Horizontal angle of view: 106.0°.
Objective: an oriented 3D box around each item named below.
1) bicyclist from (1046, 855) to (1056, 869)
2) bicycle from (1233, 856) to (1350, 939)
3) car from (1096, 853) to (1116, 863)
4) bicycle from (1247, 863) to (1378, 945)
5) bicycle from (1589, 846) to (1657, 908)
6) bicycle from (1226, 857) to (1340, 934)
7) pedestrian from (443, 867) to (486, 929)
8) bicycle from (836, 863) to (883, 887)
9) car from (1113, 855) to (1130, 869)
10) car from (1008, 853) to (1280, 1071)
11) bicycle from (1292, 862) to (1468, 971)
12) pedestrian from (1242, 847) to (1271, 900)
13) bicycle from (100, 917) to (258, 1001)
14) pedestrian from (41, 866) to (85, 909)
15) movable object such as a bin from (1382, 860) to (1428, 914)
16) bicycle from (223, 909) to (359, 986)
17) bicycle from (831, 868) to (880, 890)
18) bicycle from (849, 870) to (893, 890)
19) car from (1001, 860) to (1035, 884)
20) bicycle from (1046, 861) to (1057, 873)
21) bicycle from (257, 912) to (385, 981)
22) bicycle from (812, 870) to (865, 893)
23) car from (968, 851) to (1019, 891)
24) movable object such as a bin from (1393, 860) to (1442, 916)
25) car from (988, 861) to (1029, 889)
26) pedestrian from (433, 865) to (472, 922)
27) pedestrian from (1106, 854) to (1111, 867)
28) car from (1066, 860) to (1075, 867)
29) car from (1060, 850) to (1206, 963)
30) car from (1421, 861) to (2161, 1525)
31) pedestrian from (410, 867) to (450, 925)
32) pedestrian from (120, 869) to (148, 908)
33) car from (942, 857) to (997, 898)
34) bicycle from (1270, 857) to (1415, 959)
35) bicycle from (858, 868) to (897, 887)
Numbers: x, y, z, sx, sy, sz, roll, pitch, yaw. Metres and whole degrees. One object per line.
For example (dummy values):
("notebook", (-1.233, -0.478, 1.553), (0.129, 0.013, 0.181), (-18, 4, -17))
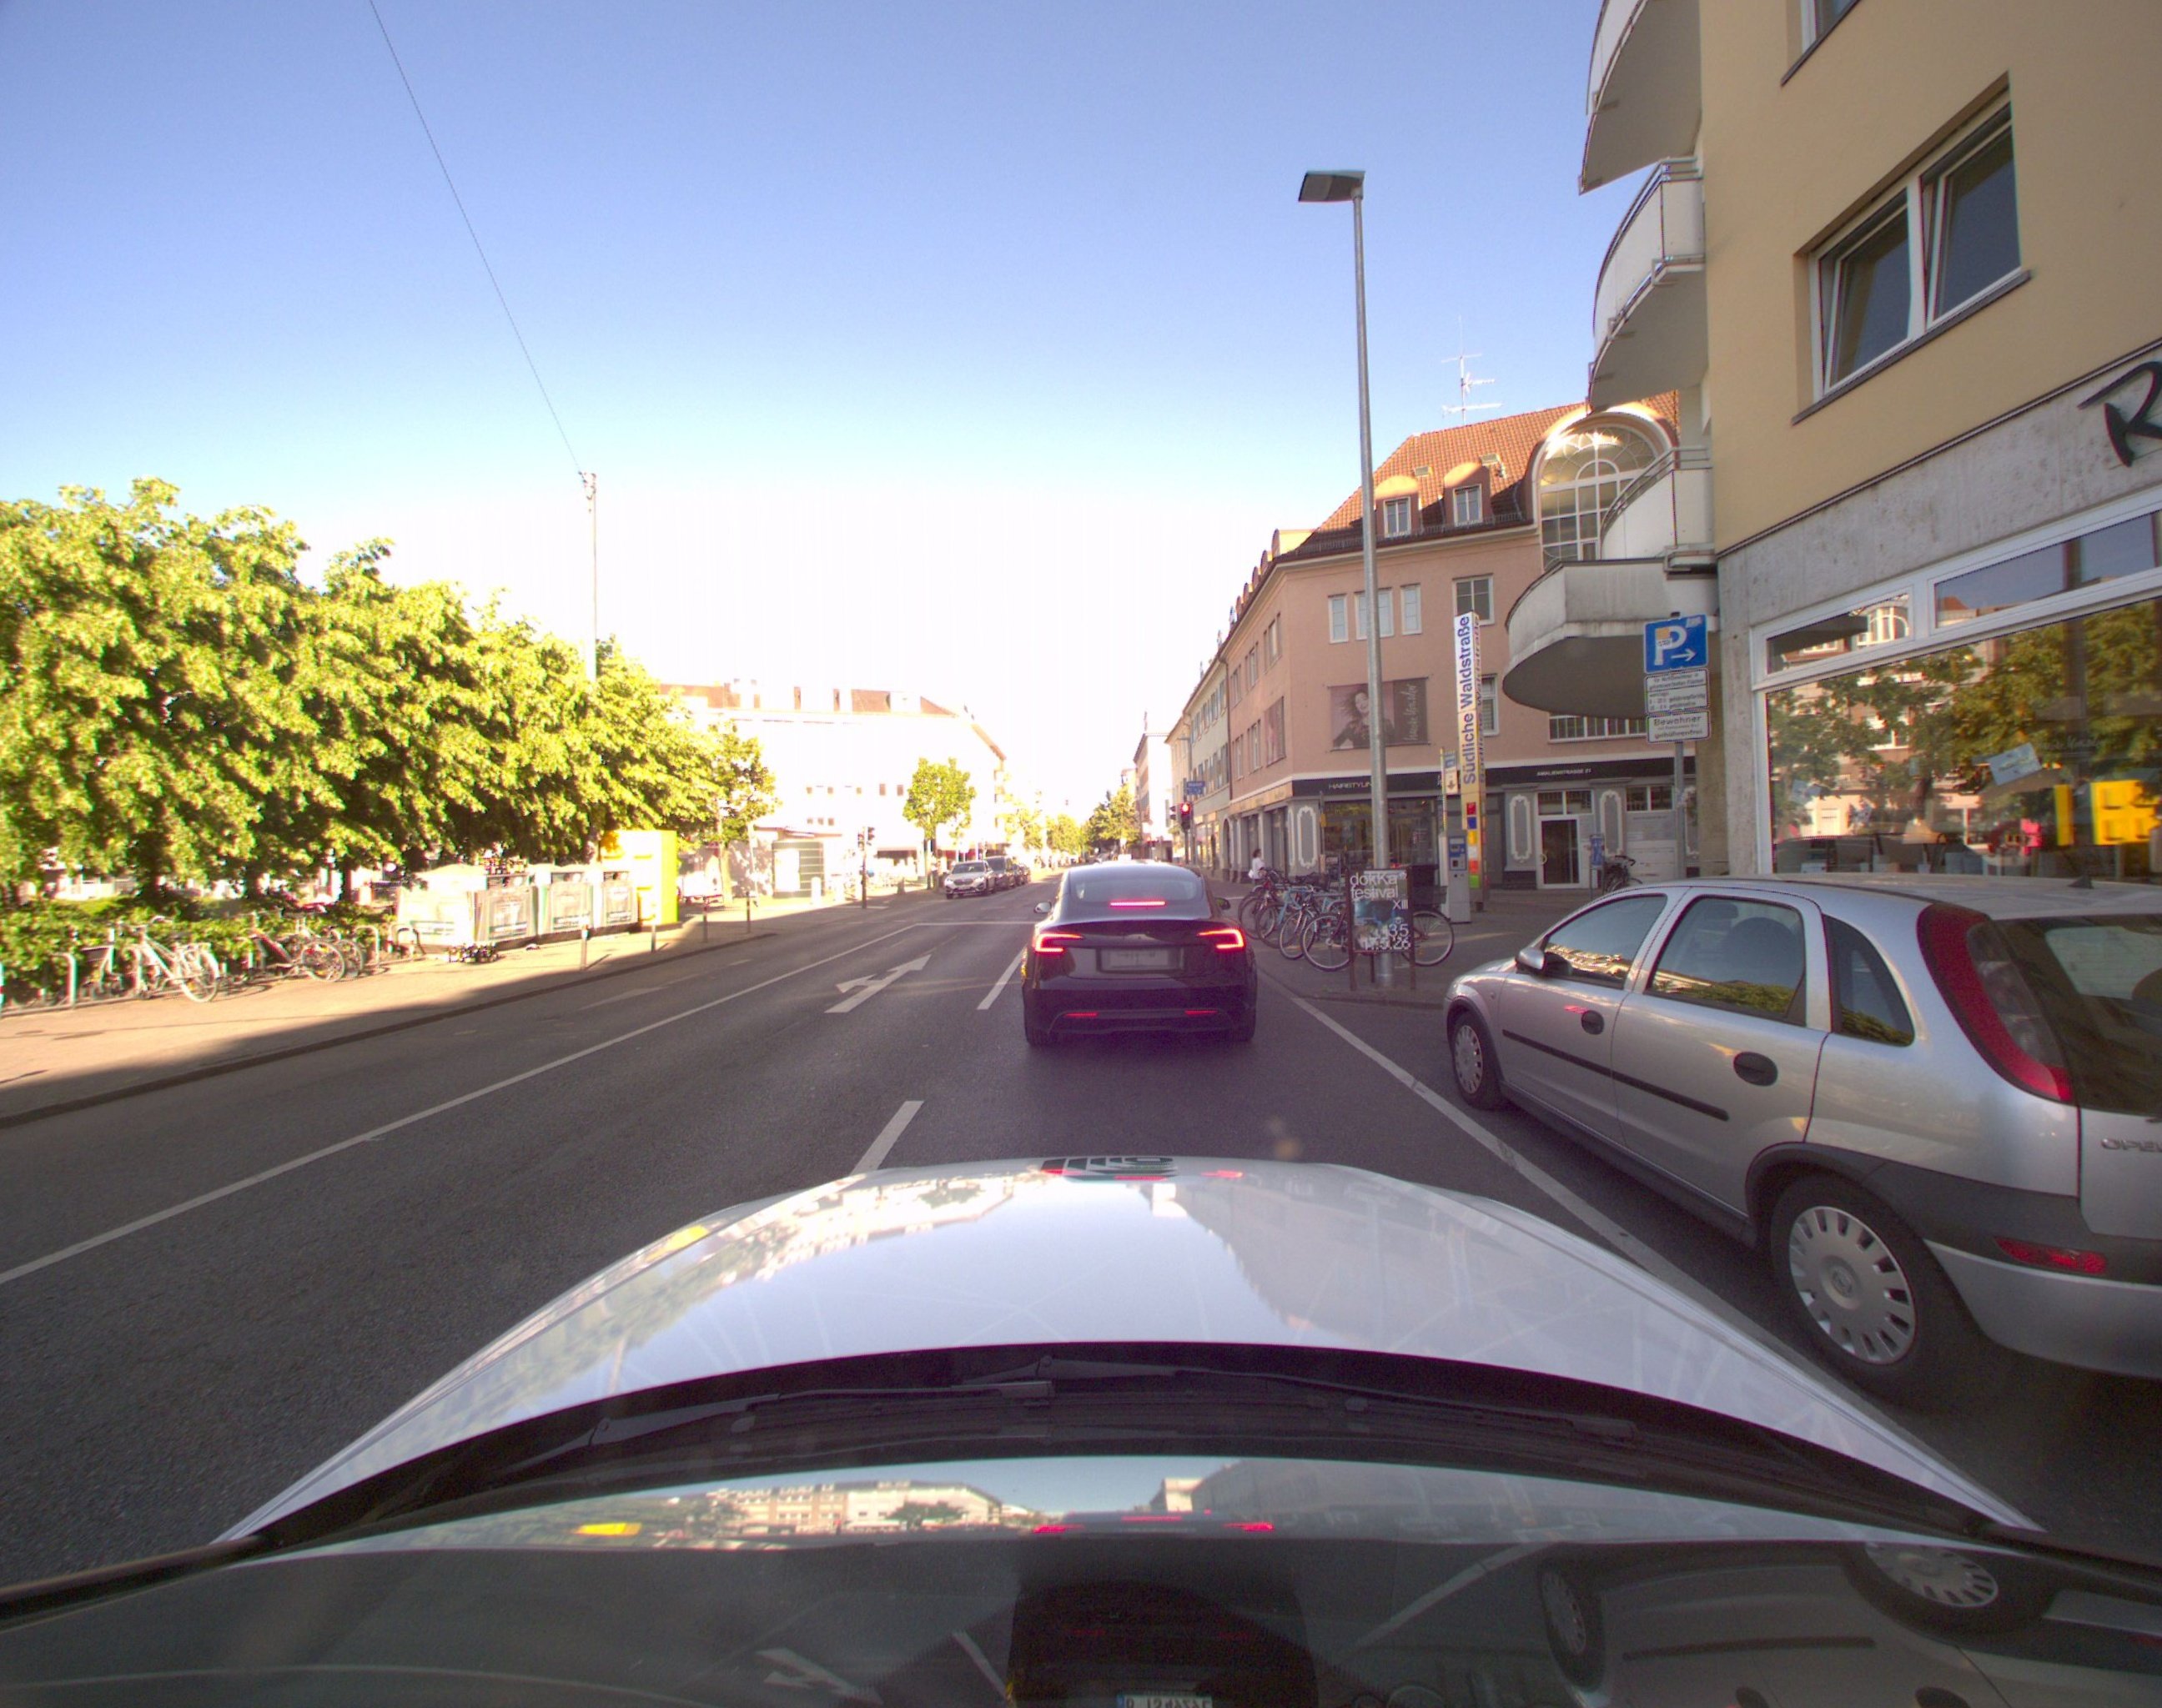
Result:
("bicyclist", (-3.503, 0.929, 95.895), (1.123, 1.628, 0.965), (-1, 0, -1))
("bicycle", (3.505, 0.712, 13.696), (1.738, 1.267, 0.782), (-3, -1, 4))
("car", (5.126, 0.853, 167.684), (3.974, 2.013, 2.000), (-1, 0, 0))
("bicycle", (3.520, 0.755, 12.515), (1.788, 1.124, 0.783), (-3, -1, 7))
("bicycle", (11.078, 0.441, 16.731), (0.653, 1.199, 2.223), (-2, 0, 21))
("bicycle", (3.620, 0.741, 14.724), (1.851, 1.258, 0.834), (-3, -1, 7))
("pedestrian", (-20.818, 1.465, 27.493), (0.980, 2.013, 0.910), (-2, -1, 38))
("bicycle", (-12.906, 1.245, 47.507), (2.472, 1.324, 0.921), (-1, 0, -4))
("car", (4.994, 0.938, 100.870), (1.986, 1.629, 4.002), (-1, 0, 2))
("car", (0.497, 0.758, 7.615), (1.841, 1.455, 4.001), (-1, 0, 2))
("bicycle", (3.636, 0.753, 10.027), (1.876, 1.193, 0.693), (-3, 0, 7))
("pedestrian", (5.221, 0.572, 24.258), (0.743, 1.552, 0.700), (-1, 0, 4))
("bicycle", (-11.457, 1.328, 10.361), (1.590, 1.018, 0.430), (-1, 0, 3))
("pedestrian", (-48.706, 1.607, 38.966), (1.386, 2.014, 0.909), (-1, 0, 19))
("movable object such as a bin", (6.751, 0.678, 16.990), (0.730, 1.092, 0.628), (0, -1, 3))
("bicycle", (-11.320, 1.332, 11.680), (1.561, 1.023, 0.430), (-1, 0, 3))
("bicycle", (-12.614, 1.371, 45.560), (2.453, 1.156, 0.843), (-1, 0, 0))
("bicycle", (-12.950, 1.571, 50.266), (2.528, 1.156, 0.841), (-1, 0, -4))
("car", (-4.393, 1.258, 57.288), (1.988, 1.436, 4.672), (-5, 0, -1))
("bicycle", (-3.476, 1.544, 95.798), (1.108, 1.344, 3.998), (-1, 0, -1))
("bicycle", (-11.376, 1.377, 12.205), (1.517, 0.958, 0.431), (-1, 1, 3))
("bicycle", (-12.815, 1.443, 43.030), (2.497, 1.156, 0.843), (-1, 0, 0))
("car", (-4.545, 0.858, 42.869), (1.827, 1.845, 4.677), (-5, 0, 2))
("movable object such as a bin", (6.742, 0.673, 16.353), (0.749, 1.092, 0.628), (0, -1, 3))
("car", (-4.363, 1.234, 49.691), (1.988, 1.410, 4.672), (-5, 0, -1))
("pedestrian", (-23.113, 1.436, 29.952), (0.980, 2.013, 0.910), (-2, -1, 38))
("pedestrian", (4.063, 0.972, 121.877), (0.639, 2.014, 0.690), (-1, -1, -2))
("car", (-2.480, 2.165, 187.380), (1.988, 1.637, 3.998), (-1, 0, -1))
("car", (0.738, 0.724, 13.323), (1.987, 1.512, 4.175), (-1, 0, 0))
("car", (2.968, 0.733, 3.533), (1.607, 1.382, 3.645), (0, 0, 2))
("pedestrian", (-23.351, 1.497, 29.213), (0.980, 2.013, 0.910), (-2, -1, 38))
("pedestrian", (-49.463, 1.785, 42.534), (1.205, 2.013, 0.910), (-2, -1, 42))
("car", (-4.945, 0.992, 36.648), (1.802, 1.555, 4.308), (-5, 0, -1))
("bicycle", (3.540, 0.727, 11.163), (1.713, 1.268, 0.792), (-3, -1, 7))
("bicycle", (-13.166, 1.516, 52.701), (2.318, 1.156, 0.841), (-1, 0, -4))
